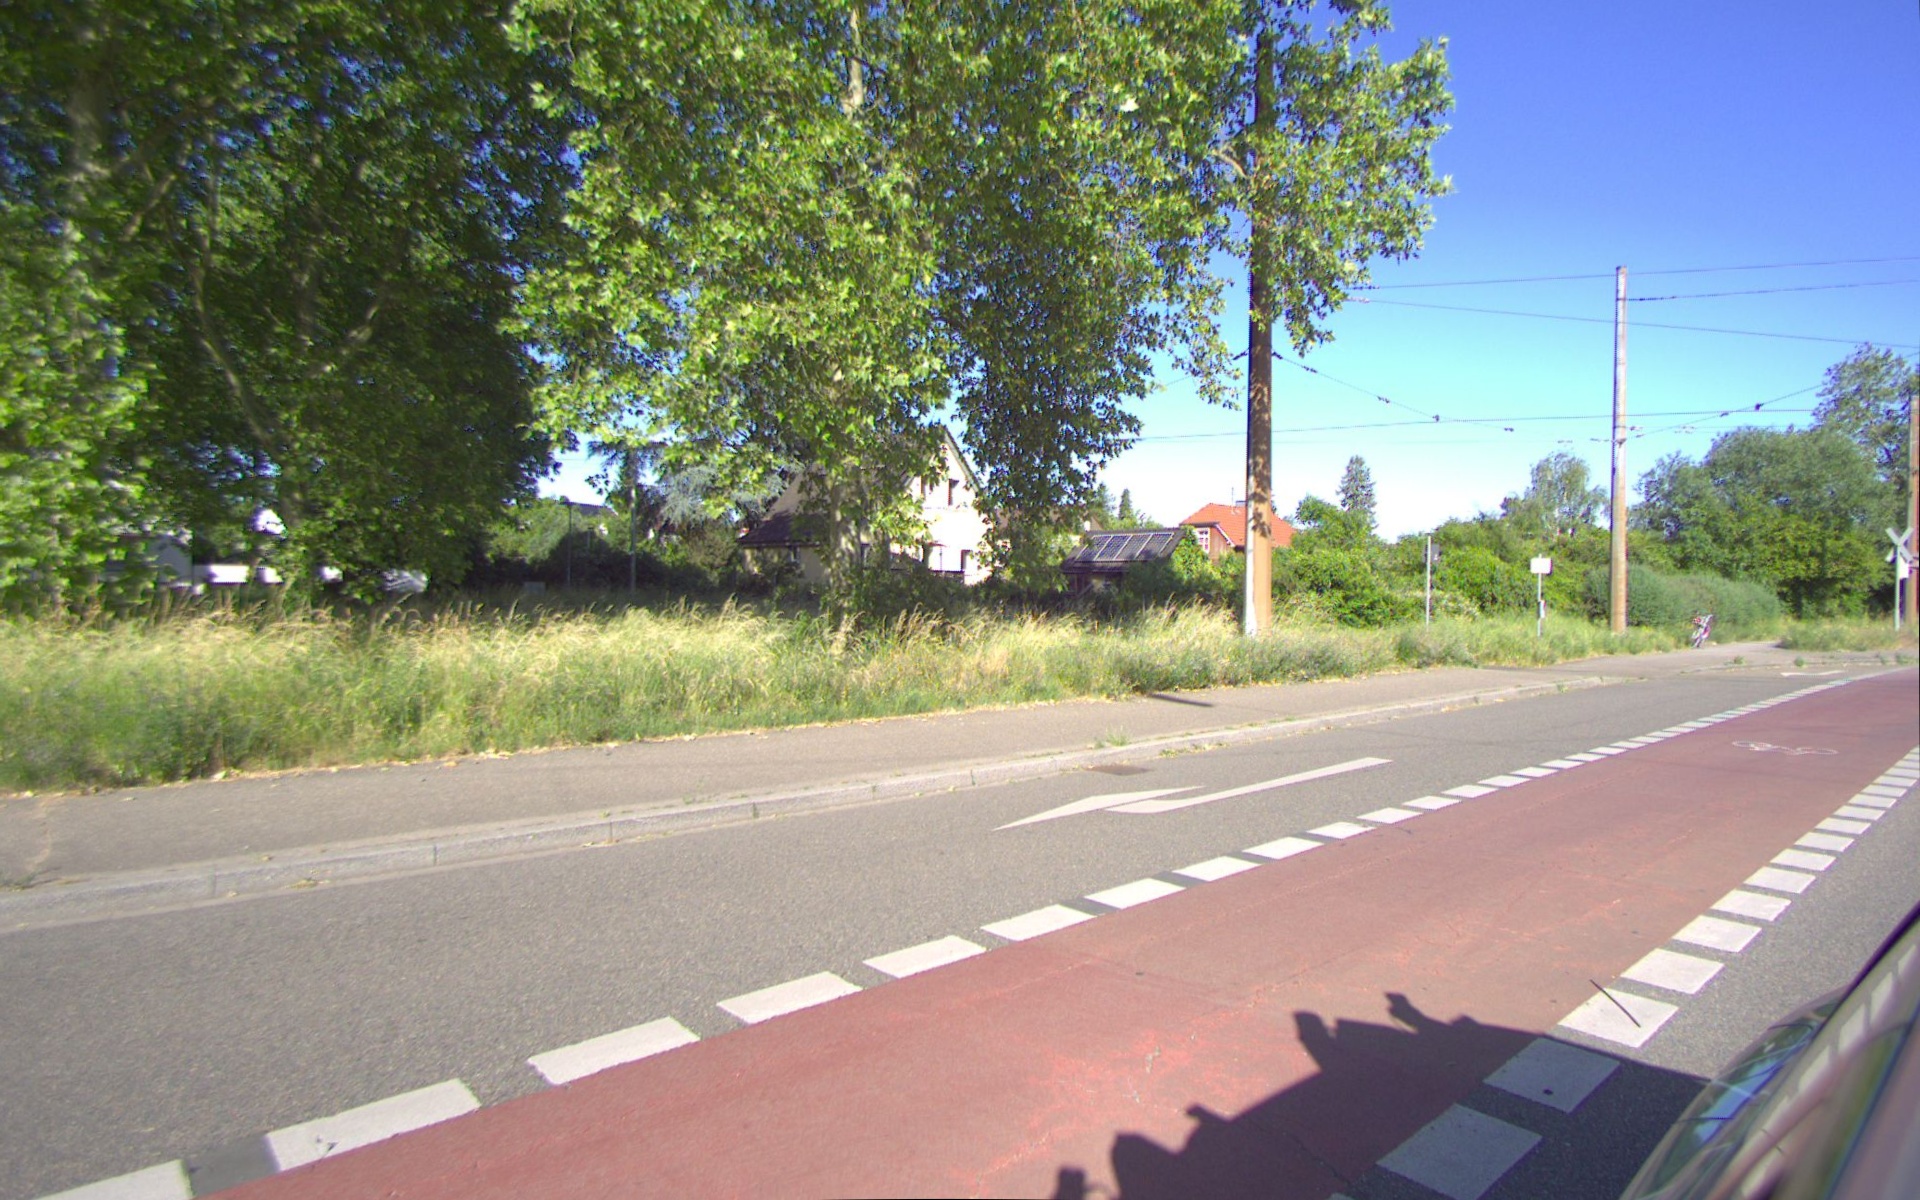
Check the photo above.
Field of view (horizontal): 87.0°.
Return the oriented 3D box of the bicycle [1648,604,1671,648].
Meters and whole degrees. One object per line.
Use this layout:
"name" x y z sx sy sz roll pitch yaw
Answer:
"bicycle" 18.892 0.687 27.314 0.364 1.149 2.067 1 1 38
